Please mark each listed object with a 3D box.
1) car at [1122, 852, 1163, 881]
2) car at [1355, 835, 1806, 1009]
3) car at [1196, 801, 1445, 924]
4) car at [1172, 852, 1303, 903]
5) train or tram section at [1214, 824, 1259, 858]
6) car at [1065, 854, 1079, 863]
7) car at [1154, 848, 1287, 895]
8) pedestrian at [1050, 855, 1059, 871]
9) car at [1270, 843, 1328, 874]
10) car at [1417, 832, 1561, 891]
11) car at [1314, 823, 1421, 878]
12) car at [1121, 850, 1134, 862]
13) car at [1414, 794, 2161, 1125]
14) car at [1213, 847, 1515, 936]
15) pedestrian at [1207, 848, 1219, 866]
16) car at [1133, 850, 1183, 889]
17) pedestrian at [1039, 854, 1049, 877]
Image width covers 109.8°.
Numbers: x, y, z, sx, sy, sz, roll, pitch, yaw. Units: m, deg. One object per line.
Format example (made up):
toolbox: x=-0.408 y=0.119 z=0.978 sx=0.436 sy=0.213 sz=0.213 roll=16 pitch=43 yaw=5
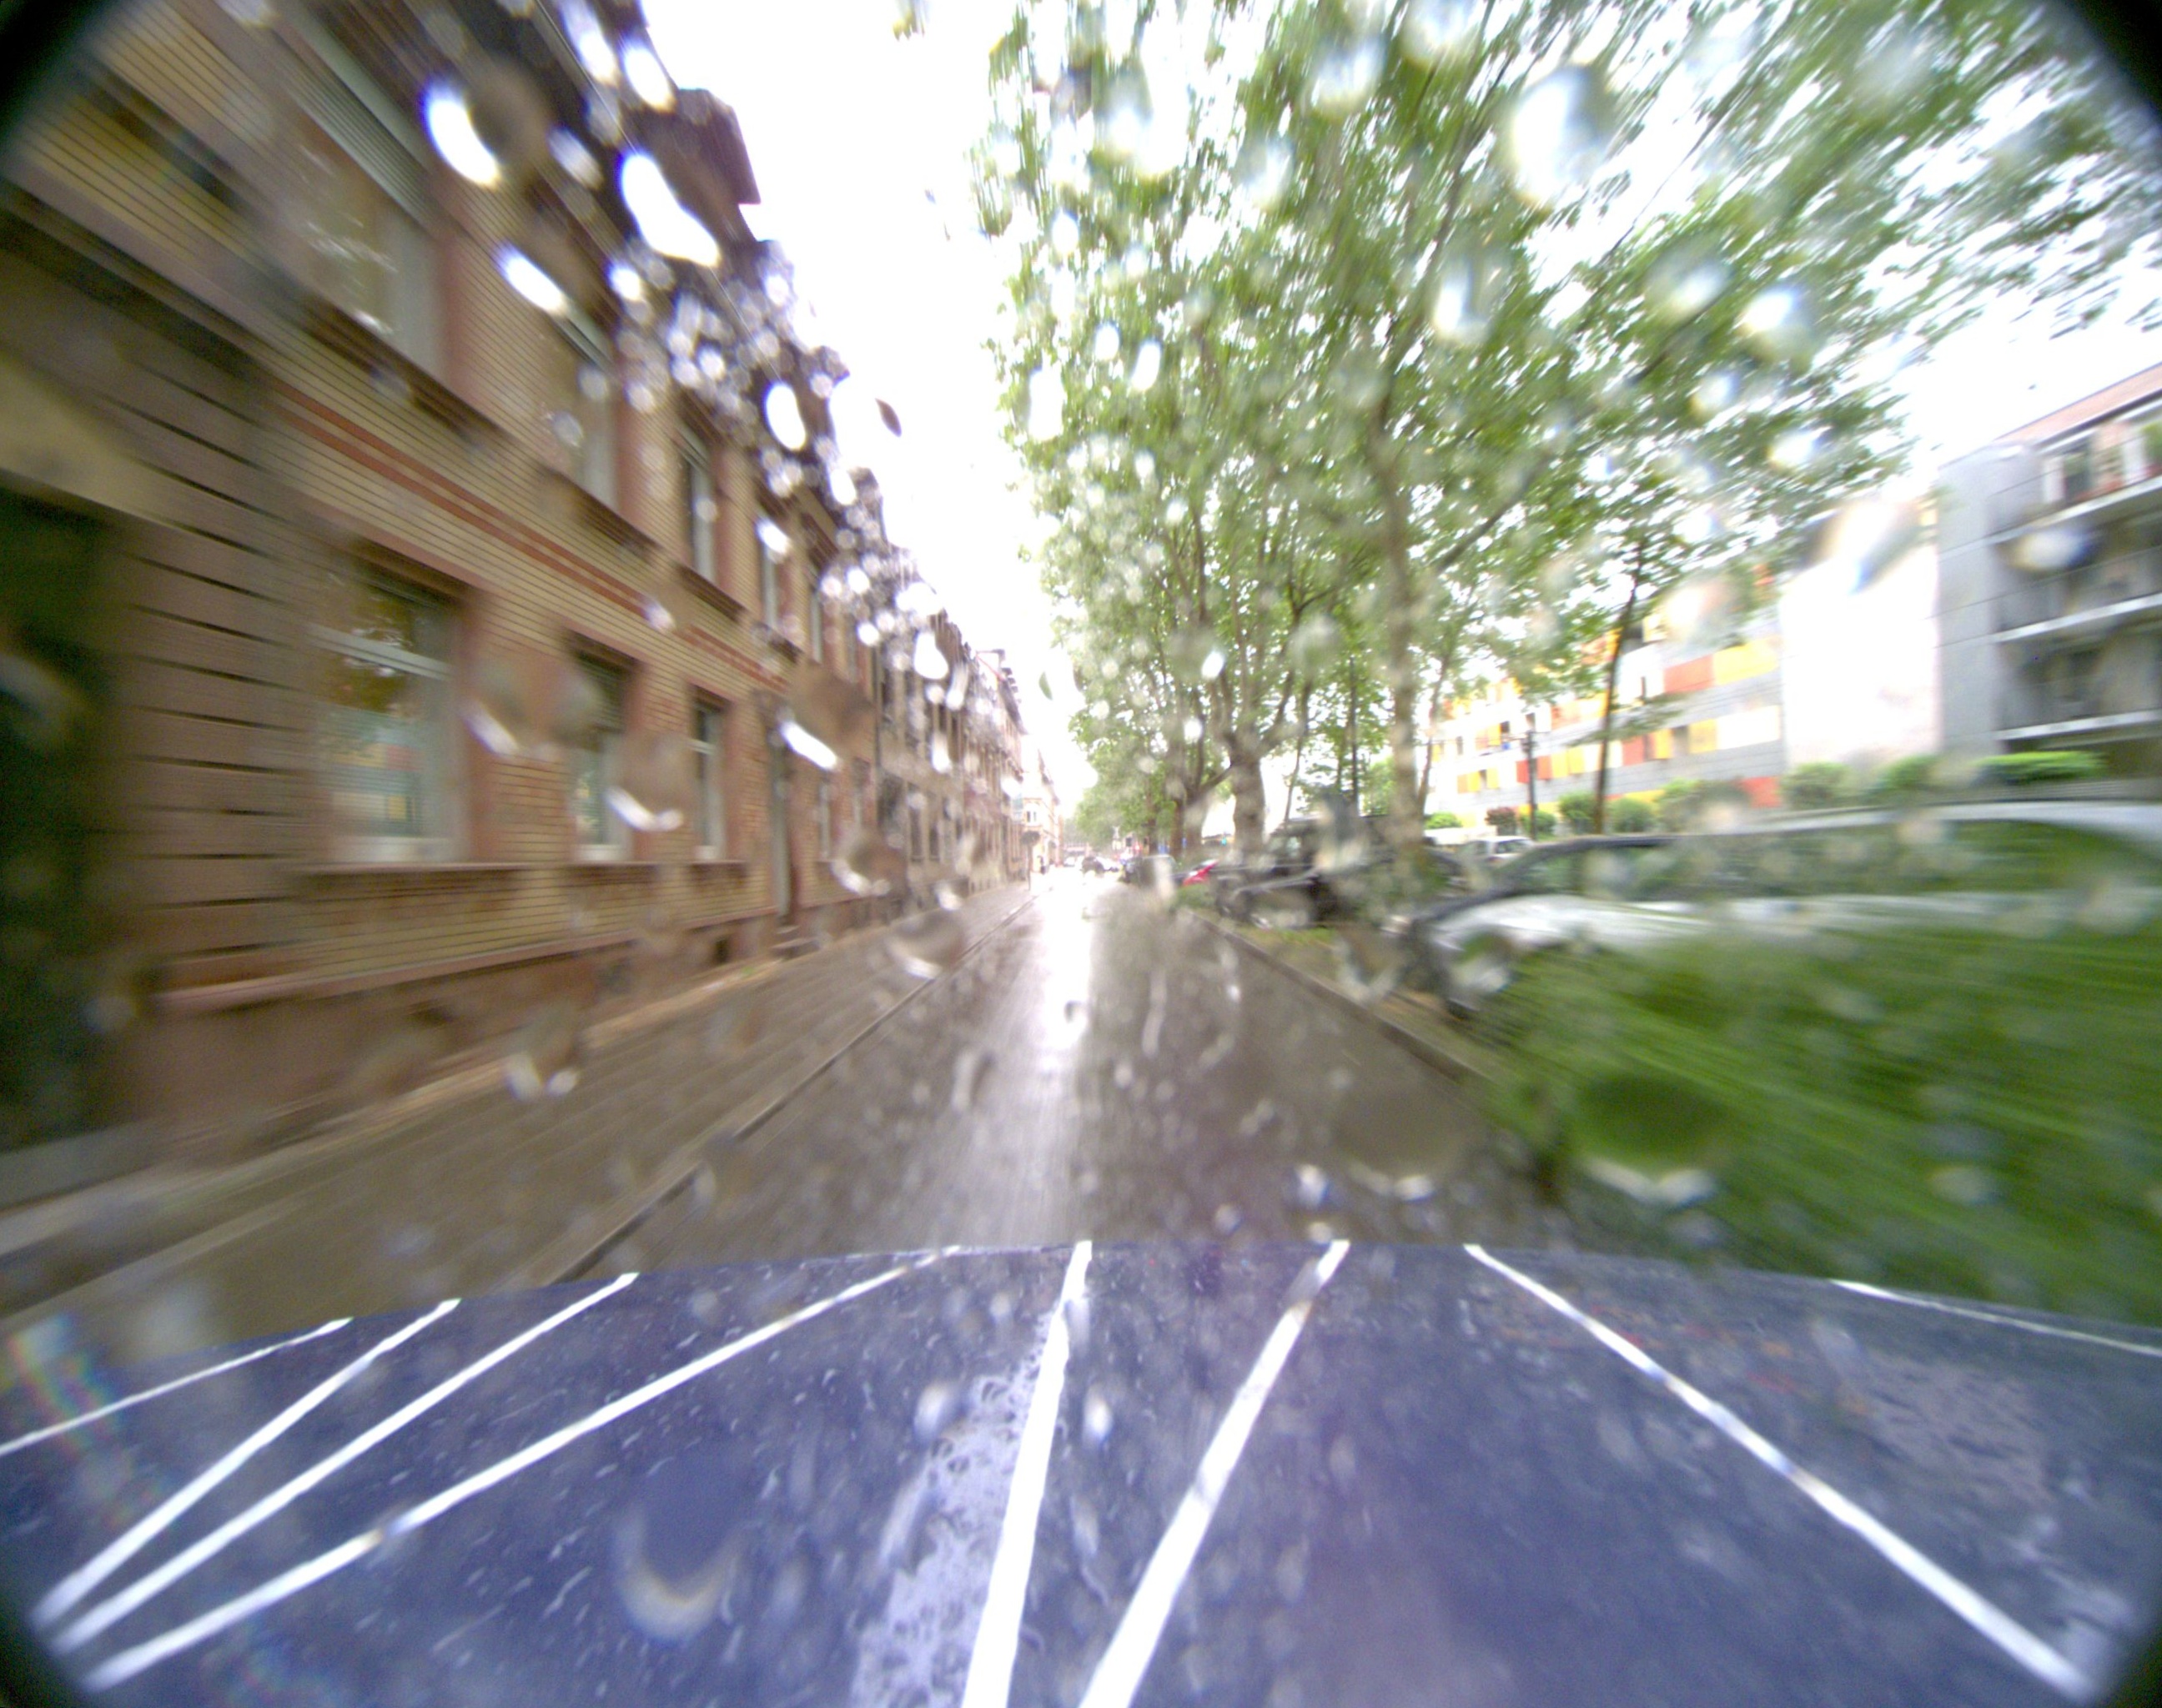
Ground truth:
car: x=3.418 y=0.671 z=42.817 sx=1.901 sy=1.476 sz=4.621 roll=-4 pitch=0 yaw=0
car: x=4.682 y=0.617 z=7.725 sx=3.504 sy=1.459 sz=1.644 roll=-2 pitch=0 yaw=19
car: x=5.025 y=0.209 z=16.064 sx=4.648 sy=2.270 sz=2.015 roll=-2 pitch=0 yaw=30
car: x=4.754 y=0.719 z=23.050 sx=3.494 sy=1.428 sz=1.784 roll=-2 pitch=0 yaw=28
train or tram section: x=18.261 y=-1.520 z=89.890 sx=2.907 sy=3.621 sz=11.551 roll=-3 pitch=0 yaw=1
car: x=-1.447 y=0.705 z=124.862 sx=1.976 sy=1.359 sz=4.162 roll=2 pitch=0 yaw=3
car: x=4.676 y=0.594 z=25.531 sx=4.037 sy=1.426 sz=1.784 roll=-2 pitch=0 yaw=25
pedestrian: x=-2.830 y=0.956 z=79.821 sx=0.849 sy=1.564 sz=0.576 roll=3 pitch=0 yaw=1
car: x=12.059 y=0.248 z=42.382 sx=1.909 sy=1.591 sz=4.467 roll=-3 pitch=0 yaw=1
car: x=12.010 y=0.207 z=22.724 sx=1.909 sy=1.525 sz=4.215 roll=-3 pitch=0 yaw=-1
car: x=11.812 y=-0.112 z=31.858 sx=2.059 sy=1.985 sz=5.433 roll=-4 pitch=0 yaw=-3
car: x=7.847 y=0.350 z=128.108 sx=1.937 sy=1.838 sz=4.066 roll=-3 pitch=0 yaw=1
car: x=4.395 y=0.531 z=4.811 sx=4.056 sy=1.528 sz=1.838 roll=-3 pitch=0 yaw=26
car: x=4.852 y=0.622 z=13.270 sx=4.648 sy=1.318 sz=1.850 roll=-2 pitch=0 yaw=28
pedestrian: x=13.575 y=0.264 z=77.988 sx=0.938 sy=1.789 sz=1.206 roll=-2 pitch=1 yaw=0
car: x=3.332 y=0.646 z=33.512 sx=1.733 sy=1.505 sz=4.207 roll=-4 pitch=0 yaw=0
pedestrian: x=-3.165 y=0.999 z=64.431 sx=0.787 sy=1.902 sz=0.929 roll=1 pitch=1 yaw=0
